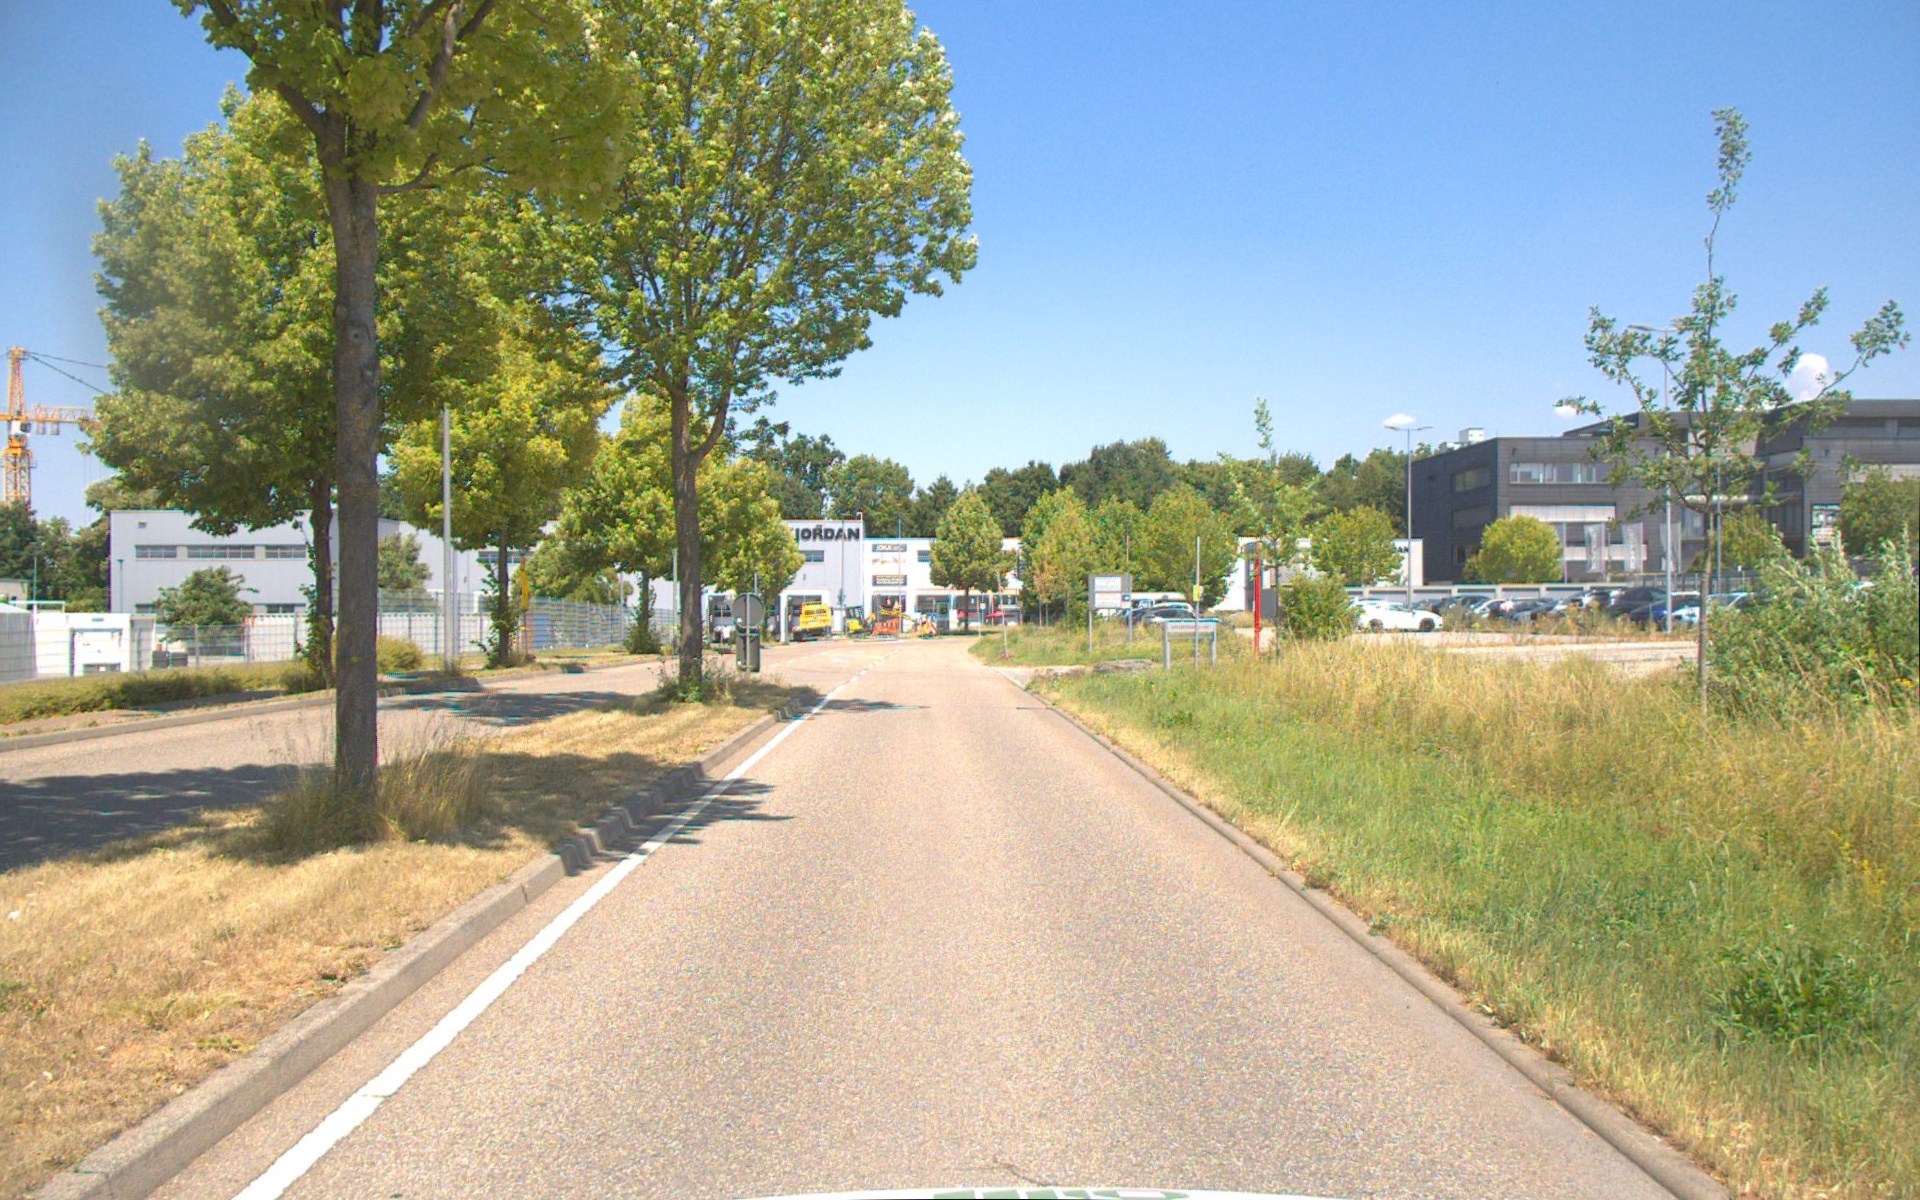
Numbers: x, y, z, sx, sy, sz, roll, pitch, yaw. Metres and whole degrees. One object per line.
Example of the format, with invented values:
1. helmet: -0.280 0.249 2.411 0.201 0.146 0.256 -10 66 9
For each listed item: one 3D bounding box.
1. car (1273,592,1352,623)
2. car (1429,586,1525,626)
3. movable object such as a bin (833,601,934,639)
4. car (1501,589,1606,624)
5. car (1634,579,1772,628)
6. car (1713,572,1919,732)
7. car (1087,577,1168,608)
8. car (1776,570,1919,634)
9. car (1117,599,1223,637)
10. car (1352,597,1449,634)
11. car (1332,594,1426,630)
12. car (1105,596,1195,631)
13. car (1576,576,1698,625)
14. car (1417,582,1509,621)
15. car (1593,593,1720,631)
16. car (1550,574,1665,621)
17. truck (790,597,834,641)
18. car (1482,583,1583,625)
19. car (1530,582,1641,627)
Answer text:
1. car: 19.450 0.410 91.366 3.909 1.424 1.767 -3 3 -5
2. car: 24.288 0.285 77.752 3.909 1.623 1.767 -3 3 -5
3. movable object such as a bin: -5.976 1.555 130.141 7.366 2.543 3.670 -2 3 6
4. car: 25.893 0.272 72.208 3.909 1.293 1.767 -3 3 -5
5. car: 25.292 0.113 56.358 3.909 1.417 1.767 -3 3 -5
6. car: 11.289 0.552 19.497 3.906 1.754 1.926 -2 -1 -2
7. car: 9.083 -0.443 89.635 4.082 1.424 1.767 -3 3 -5
8. car: 26.537 0.040 49.003 3.909 1.623 1.767 -3 3 -5
9. car: 9.601 0.811 75.804 4.607 1.424 1.922 -2 3 0
10. car: 20.093 0.694 75.504 3.908 1.424 1.768 -2 3 -4
11. car: 19.721 0.551 77.967 3.909 1.424 1.767 -3 3 -5
12. car: 9.295 0.652 81.210 4.082 1.424 1.767 -3 3 -5
13. car: 25.796 0.005 63.072 3.909 1.623 1.860 -3 3 -5
14. car: 24.524 0.072 80.671 3.909 1.623 1.767 -3 3 -5
15. car: 25.270 0.429 60.076 3.909 1.128 1.767 -3 3 -5
16. car: 25.759 -0.099 65.848 3.909 1.623 1.767 -3 3 -5
17. truck: -11.704 1.448 130.223 2.885 2.935 5.797 -3 3 -10
18. car: 25.909 0.157 74.932 3.909 1.623 1.767 -3 3 -5
19. car: 25.885 0.166 68.482 3.909 1.623 1.767 -3 3 -5
